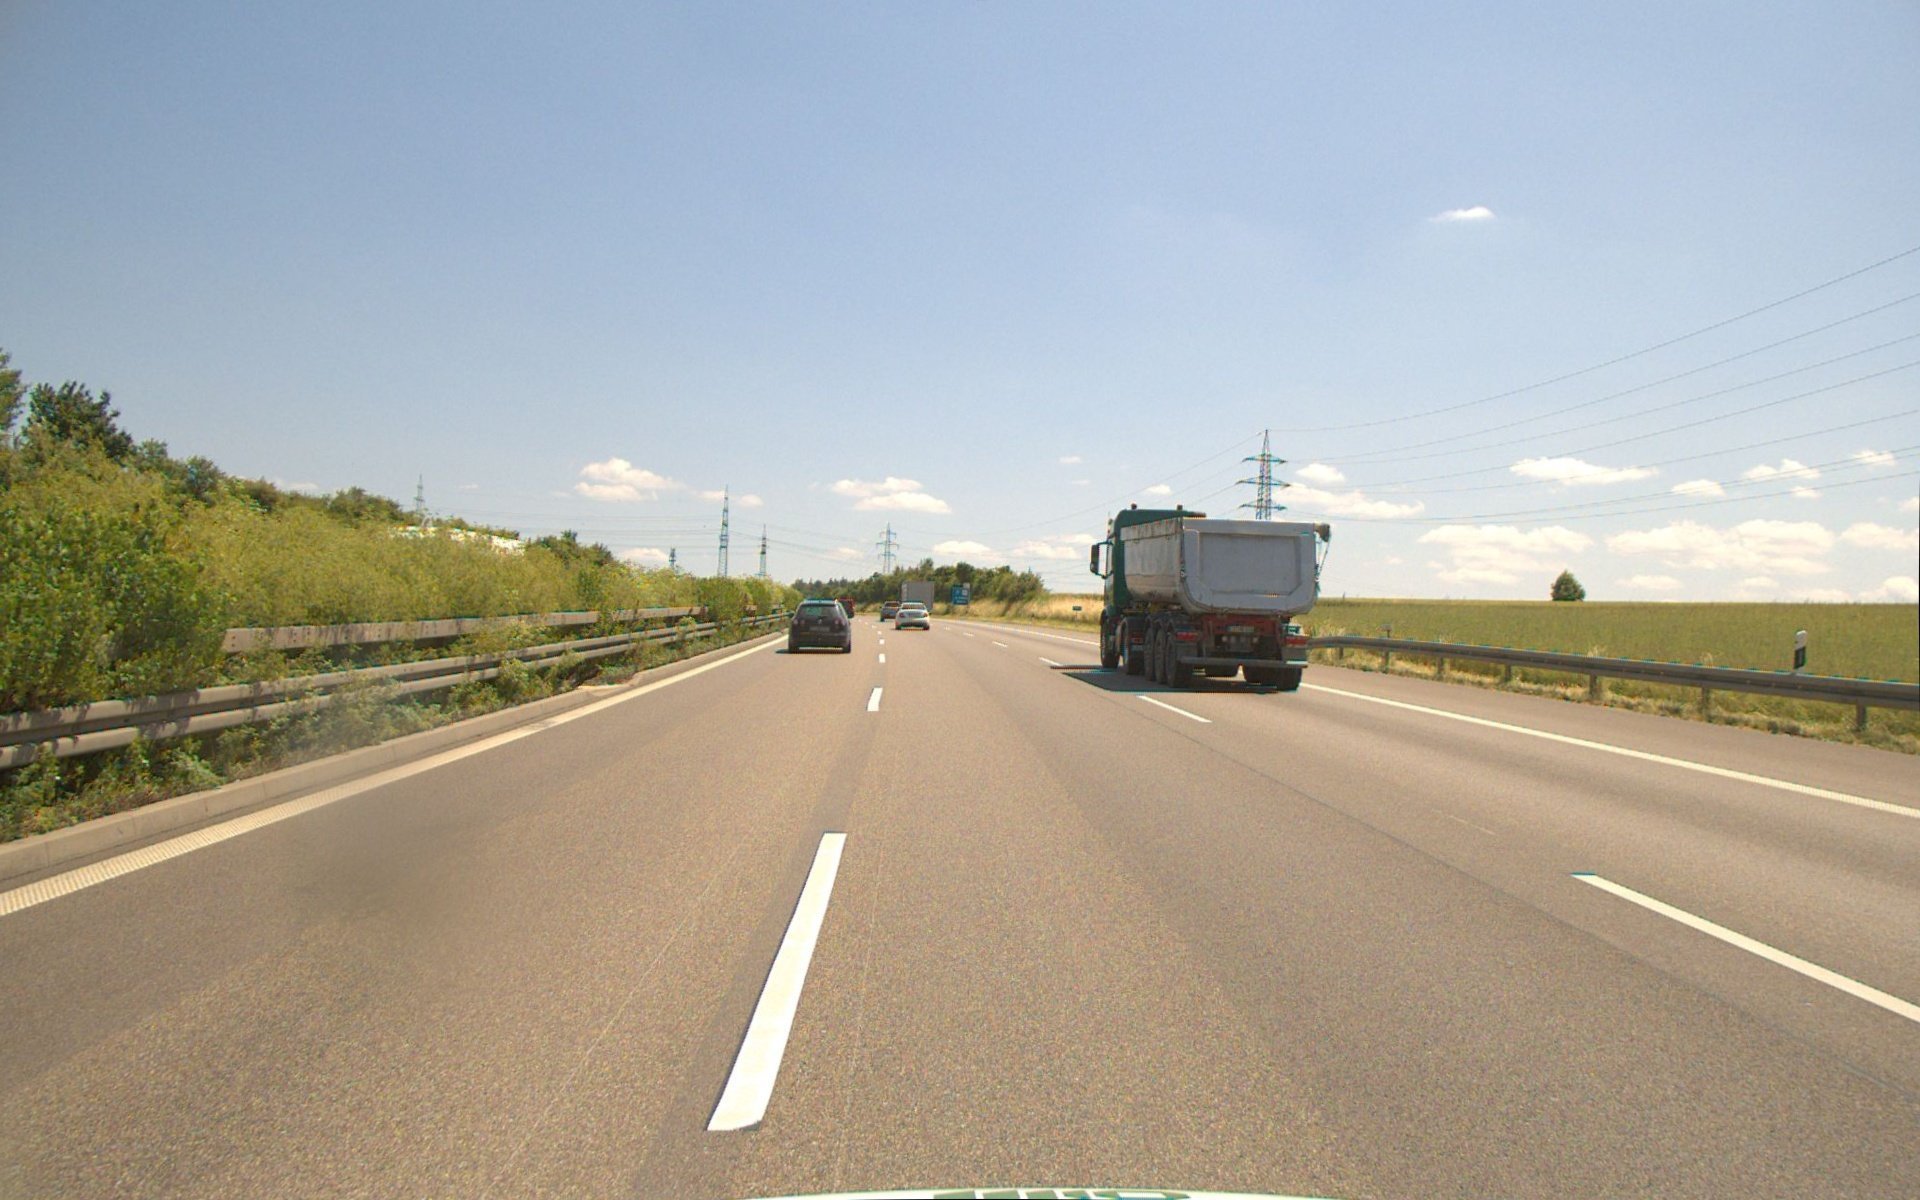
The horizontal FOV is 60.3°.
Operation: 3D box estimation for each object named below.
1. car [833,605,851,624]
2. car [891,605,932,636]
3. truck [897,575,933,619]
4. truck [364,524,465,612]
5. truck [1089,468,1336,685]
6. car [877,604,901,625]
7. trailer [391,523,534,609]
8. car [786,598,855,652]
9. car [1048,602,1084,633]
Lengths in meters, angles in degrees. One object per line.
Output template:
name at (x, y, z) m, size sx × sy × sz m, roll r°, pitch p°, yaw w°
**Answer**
car at (-12.433, 1.533, 174.694) m, size 1.864 × 1.959 × 3.996 m, roll 1°, pitch 0°, yaw -4°
car at (-2.630, 1.078, 88.675) m, size 1.785 × 1.568 × 3.907 m, roll 1°, pitch 0°, yaw -8°
truck at (-4.313, -0.198, 156.928) m, size 3.157 × 3.993 × 9.053 m, roll 1°, pitch -1°, yaw -3°
truck at (-22.037, -1.255, 67.061) m, size 2.545 × 3.409 × 5.042 m, roll 1°, pitch 0°, yaw -2°
truck at (4.942, -0.385, 35.412) m, size 2.808 × 3.789 × 12.756 m, roll 1°, pitch 0°, yaw -2°
car at (-5.555, 1.140, 129.017) m, size 1.802 × 1.568 × 3.912 m, roll 1°, pitch 0°, yaw -2°
trailer at (-22.474, -1.381, 75.917) m, size 2.546 × 3.503 × 15.820 m, roll 1°, pitch 0°, yaw -3°
car at (-3.955, 0.693, 47.435) m, size 1.721 × 1.454 × 3.999 m, roll 1°, pitch 0°, yaw -2°
car at (6.606, 1.085, 103.360) m, size 1.953 × 1.885 × 3.999 m, roll 0°, pitch 0°, yaw -1°
